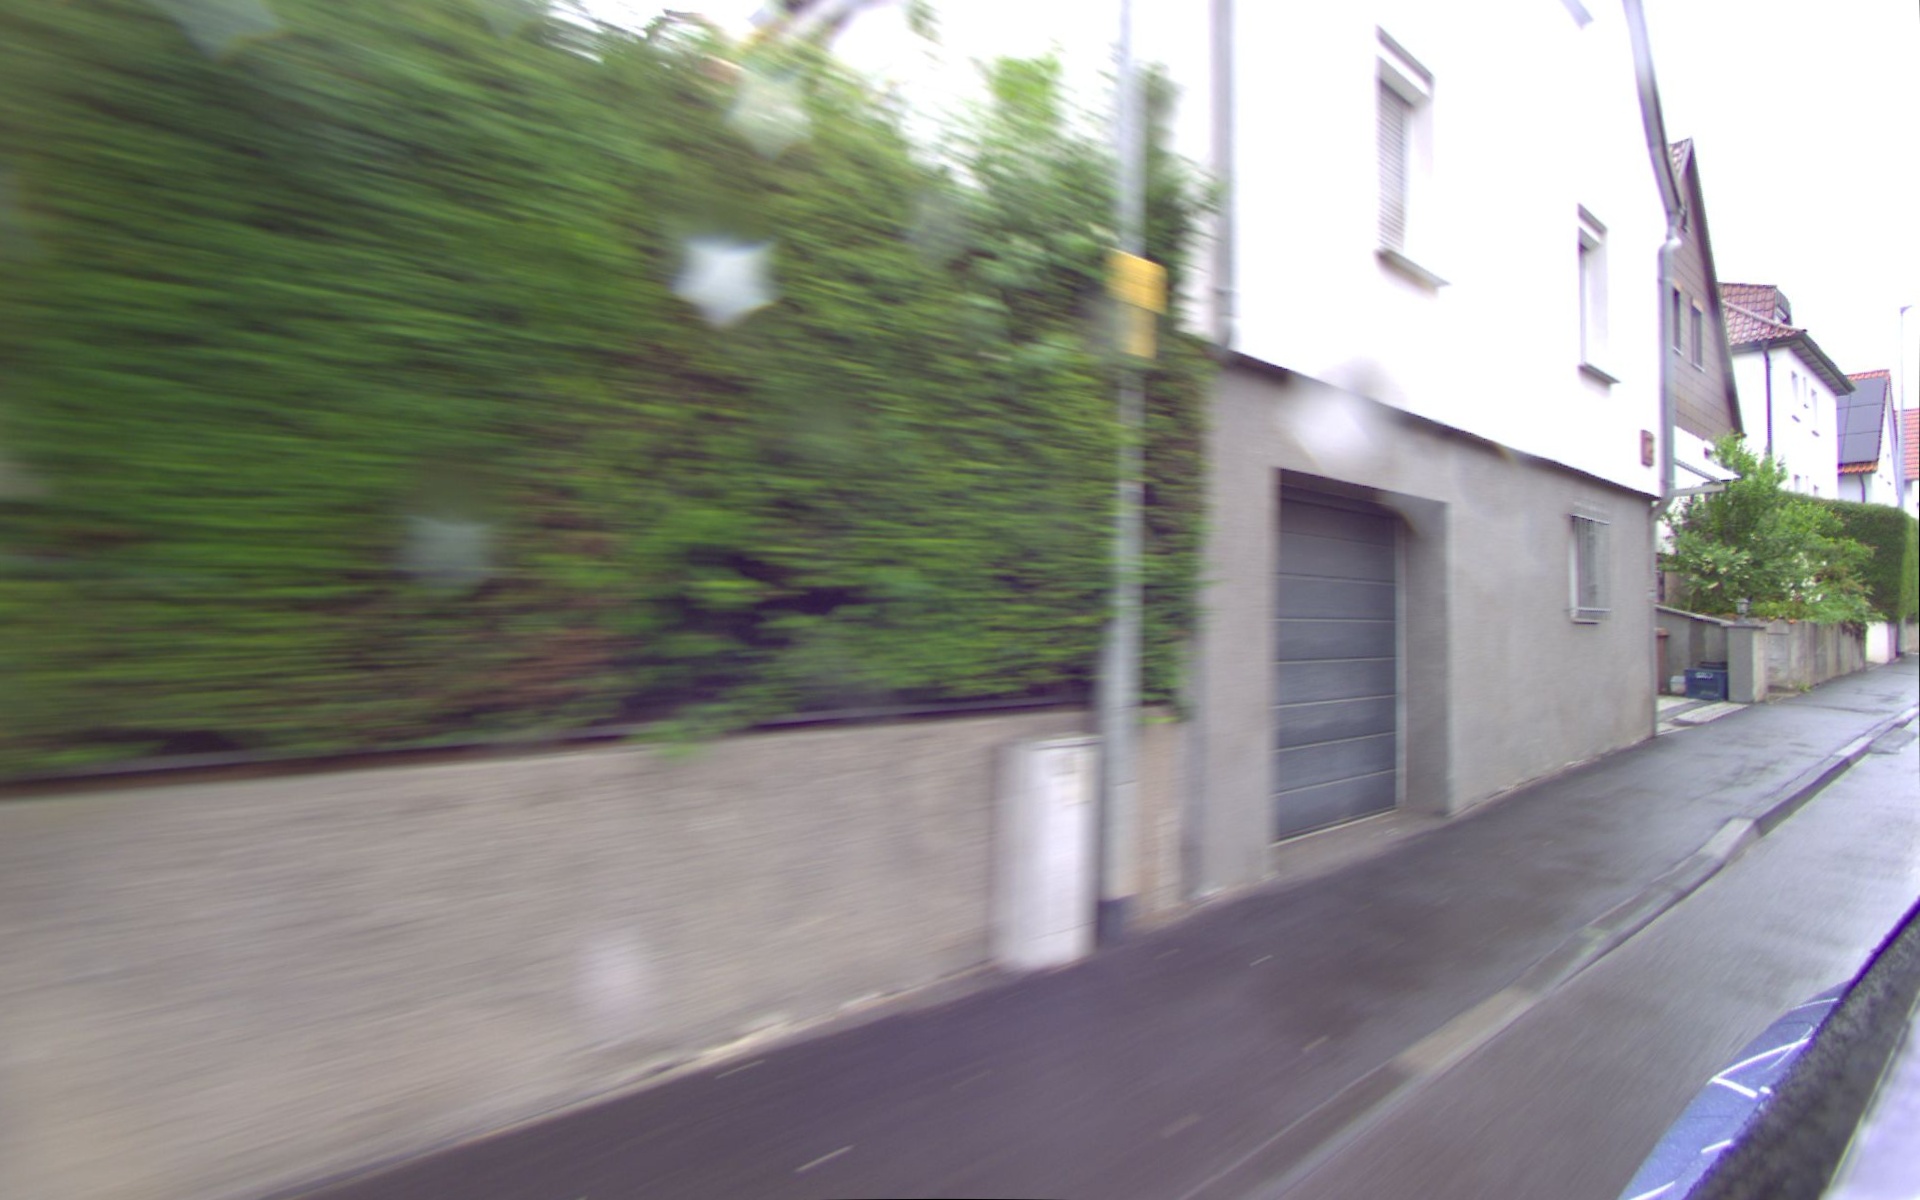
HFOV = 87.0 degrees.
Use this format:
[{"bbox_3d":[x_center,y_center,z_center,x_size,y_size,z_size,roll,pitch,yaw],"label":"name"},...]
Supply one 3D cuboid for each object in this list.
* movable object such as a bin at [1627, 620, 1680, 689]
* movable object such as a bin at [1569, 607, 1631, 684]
[{"bbox_3d":[9.617,0.743,14.032,0.468,0.916,0.494,0,-1,-41],"label":"movable object such as a bin"},{"bbox_3d":[9.140,0.635,14.465,0.517,1.074,0.619,0,-1,-41],"label":"movable object such as a bin"}]
